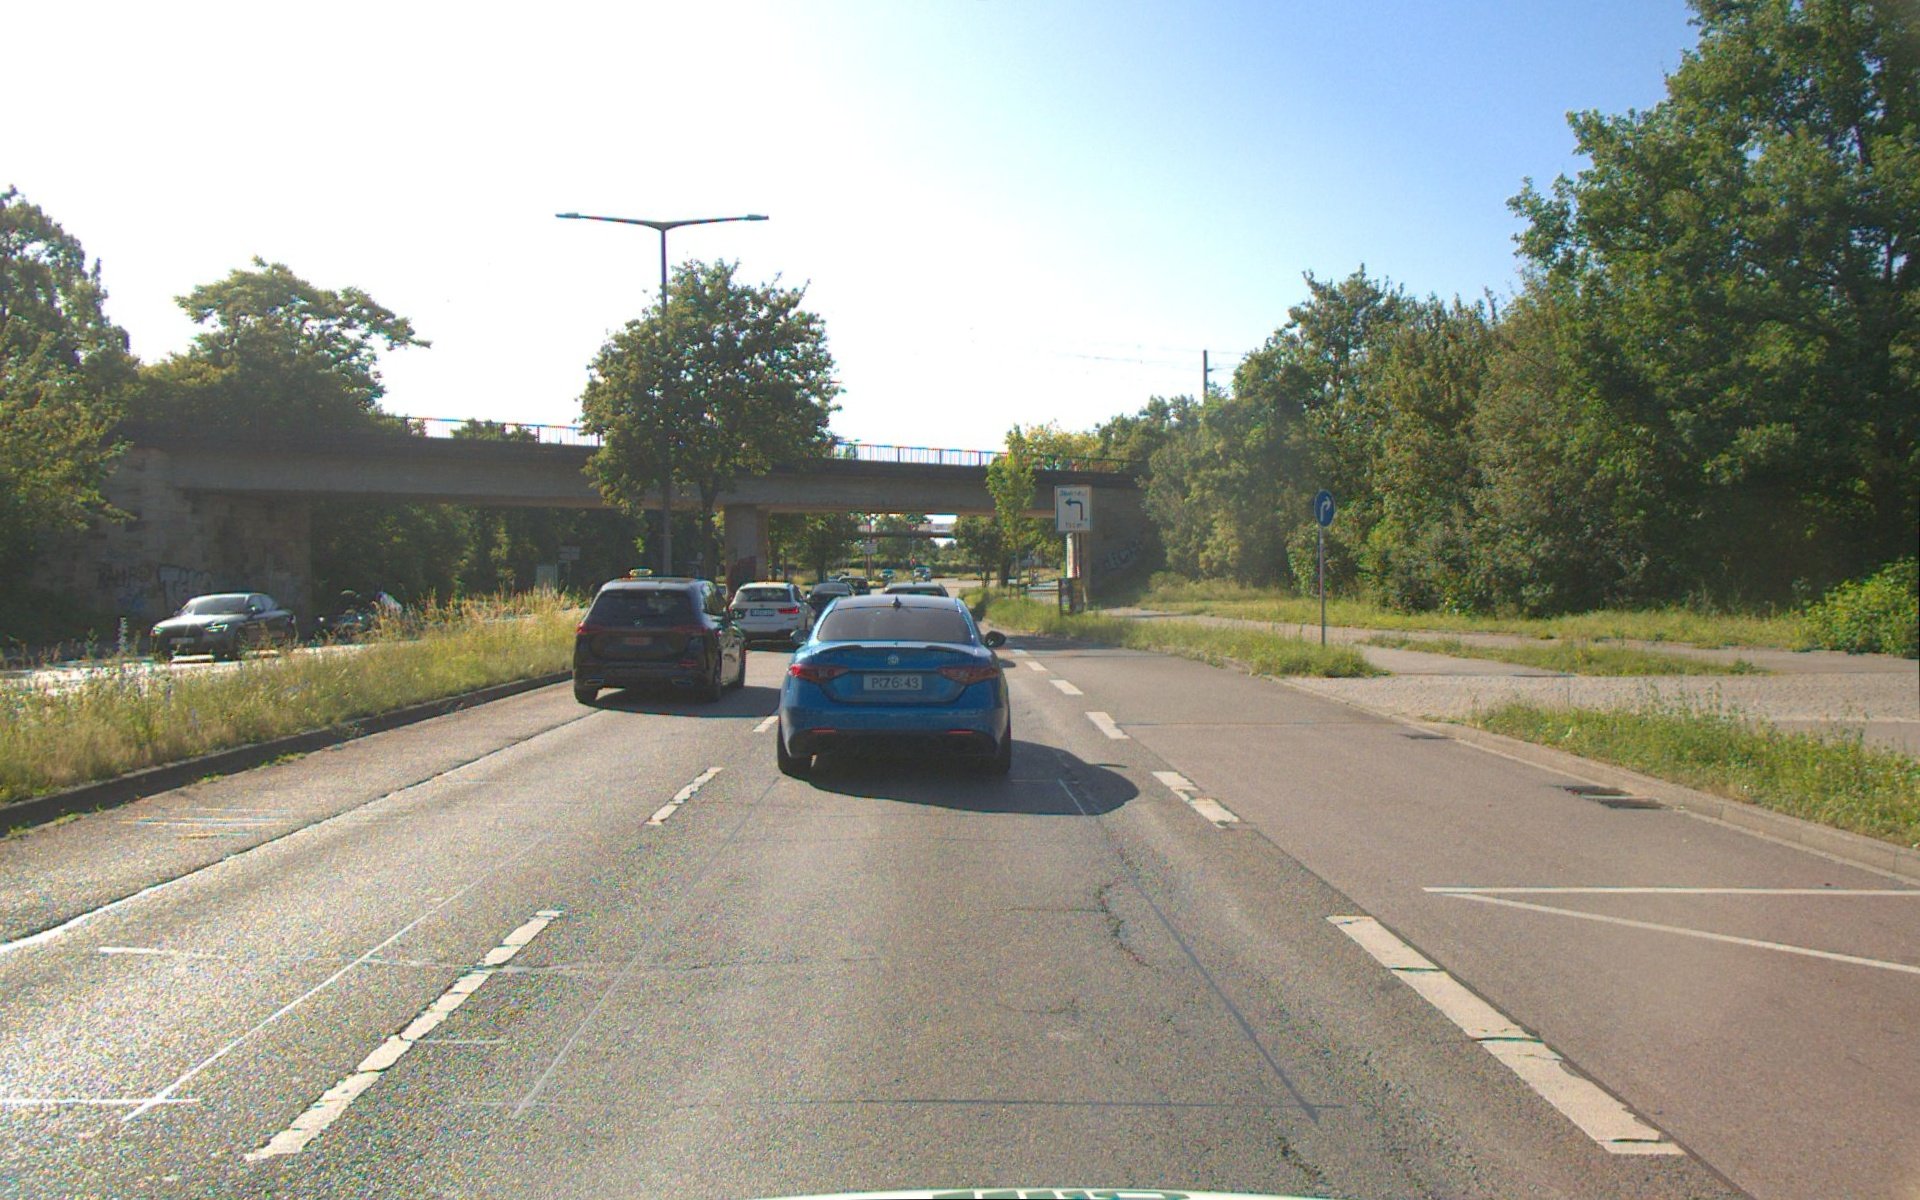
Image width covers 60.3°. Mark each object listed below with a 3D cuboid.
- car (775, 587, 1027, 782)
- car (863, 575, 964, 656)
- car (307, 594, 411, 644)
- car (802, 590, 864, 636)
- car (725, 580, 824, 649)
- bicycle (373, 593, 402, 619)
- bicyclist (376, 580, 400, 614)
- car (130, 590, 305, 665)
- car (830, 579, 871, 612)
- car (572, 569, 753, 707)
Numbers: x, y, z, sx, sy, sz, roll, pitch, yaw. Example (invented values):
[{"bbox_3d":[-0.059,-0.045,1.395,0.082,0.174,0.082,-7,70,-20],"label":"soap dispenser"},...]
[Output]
[{"bbox_3d":[-0.478,0.610,14.357,1.845,1.431,4.223,1,0,-1],"label":"car"},{"bbox_3d":[-0.903,0.275,32.841,1.845,1.479,4.525,1,0,-1],"label":"car"},{"bbox_3d":[-20.128,0.600,55.599,1.875,1.480,4.489,-3,0,-1],"label":"car"},{"bbox_3d":[-4.293,0.420,56.340,1.845,1.479,4.525,1,0,-1],"label":"car"},{"bbox_3d":[-4.204,0.301,38.099,1.845,1.479,4.525,1,0,-1],"label":"car"},{"bbox_3d":[-24.103,0.255,69.641,0.669,1.048,1.714,1,0,-1],"label":"bicycle"},{"bbox_3d":[-24.089,-0.121,69.713,0.666,1.426,1.026,1,0,-2],"label":"bicyclist"},{"bbox_3d":[-16.237,0.558,36.443,1.781,1.460,4.629,-3,0,-1],"label":"car"},{"bbox_3d":[-5.061,-0.236,76.857,1.743,1.479,4.181,0,1,-1],"label":"car"},{"bbox_3d":[-3.794,0.435,21.747,1.673,1.626,4.223,1,0,-1],"label":"car"}]
